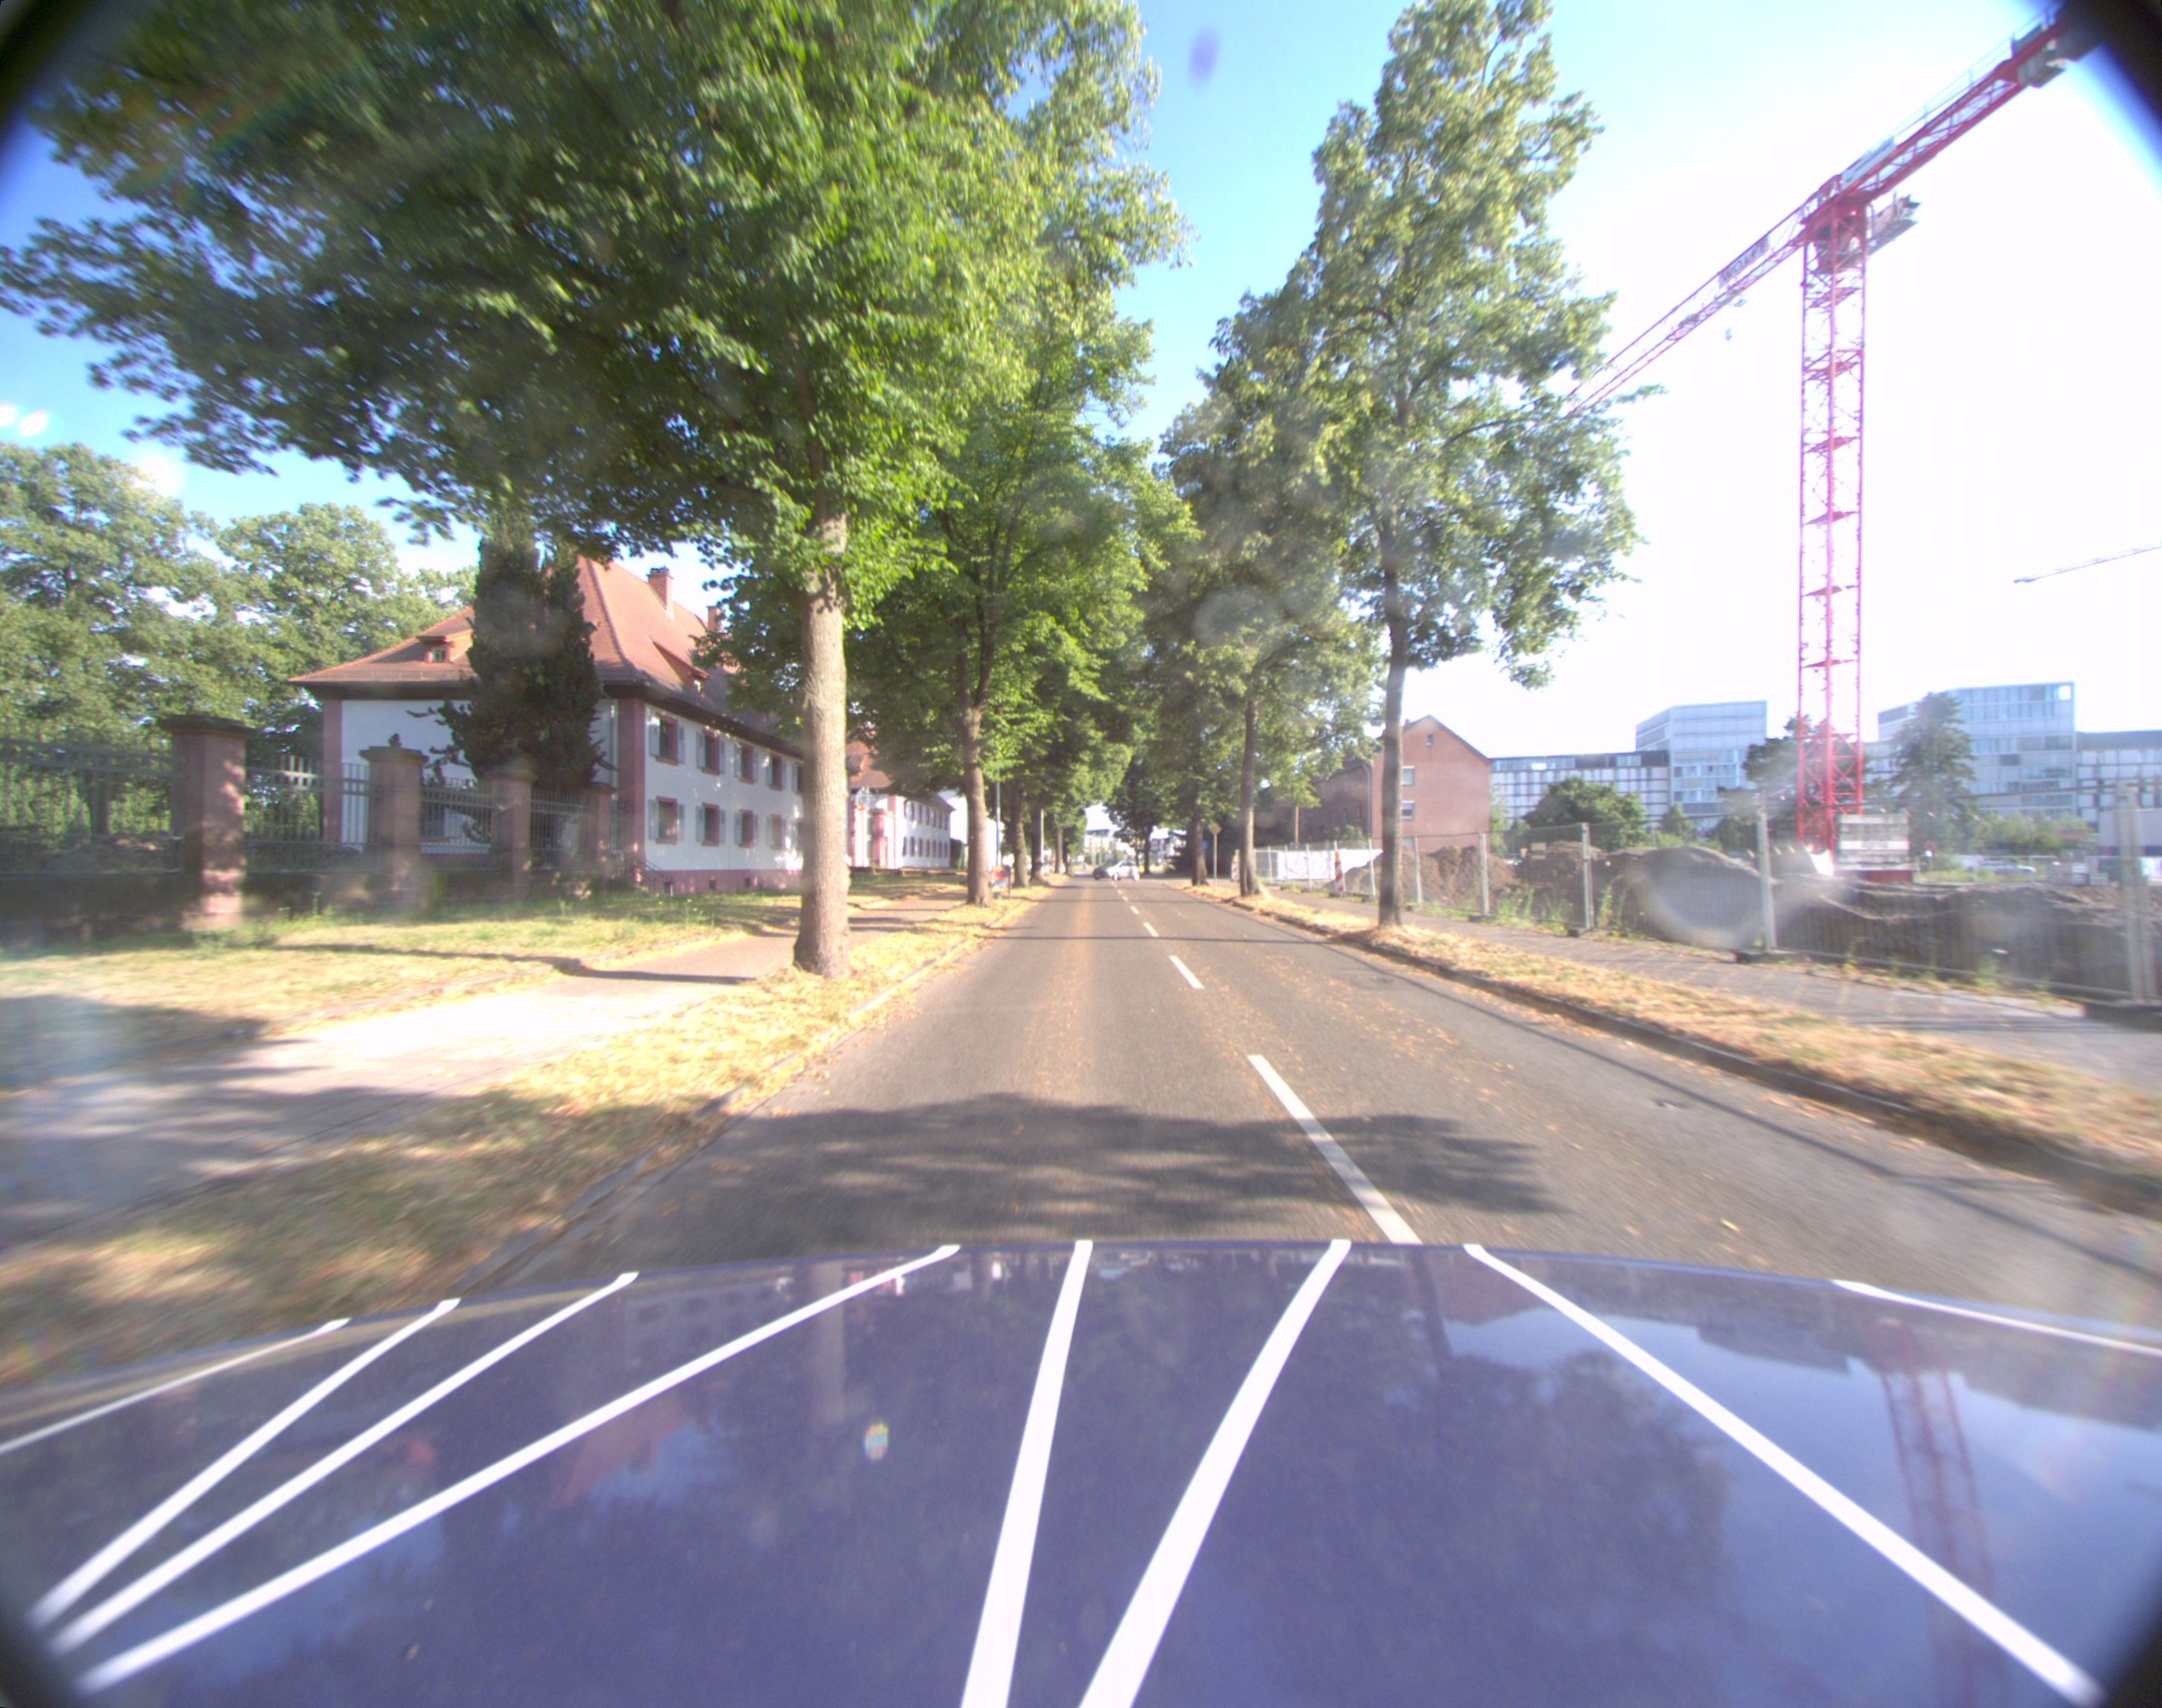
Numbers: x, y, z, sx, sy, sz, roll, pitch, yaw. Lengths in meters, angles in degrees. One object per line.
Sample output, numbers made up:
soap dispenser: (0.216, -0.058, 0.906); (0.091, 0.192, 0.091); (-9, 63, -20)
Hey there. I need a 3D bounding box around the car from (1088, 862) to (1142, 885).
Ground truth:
car: (2.372, 1.326, 52.695); (1.772, 1.491, 3.681); (-1, -1, 44)
